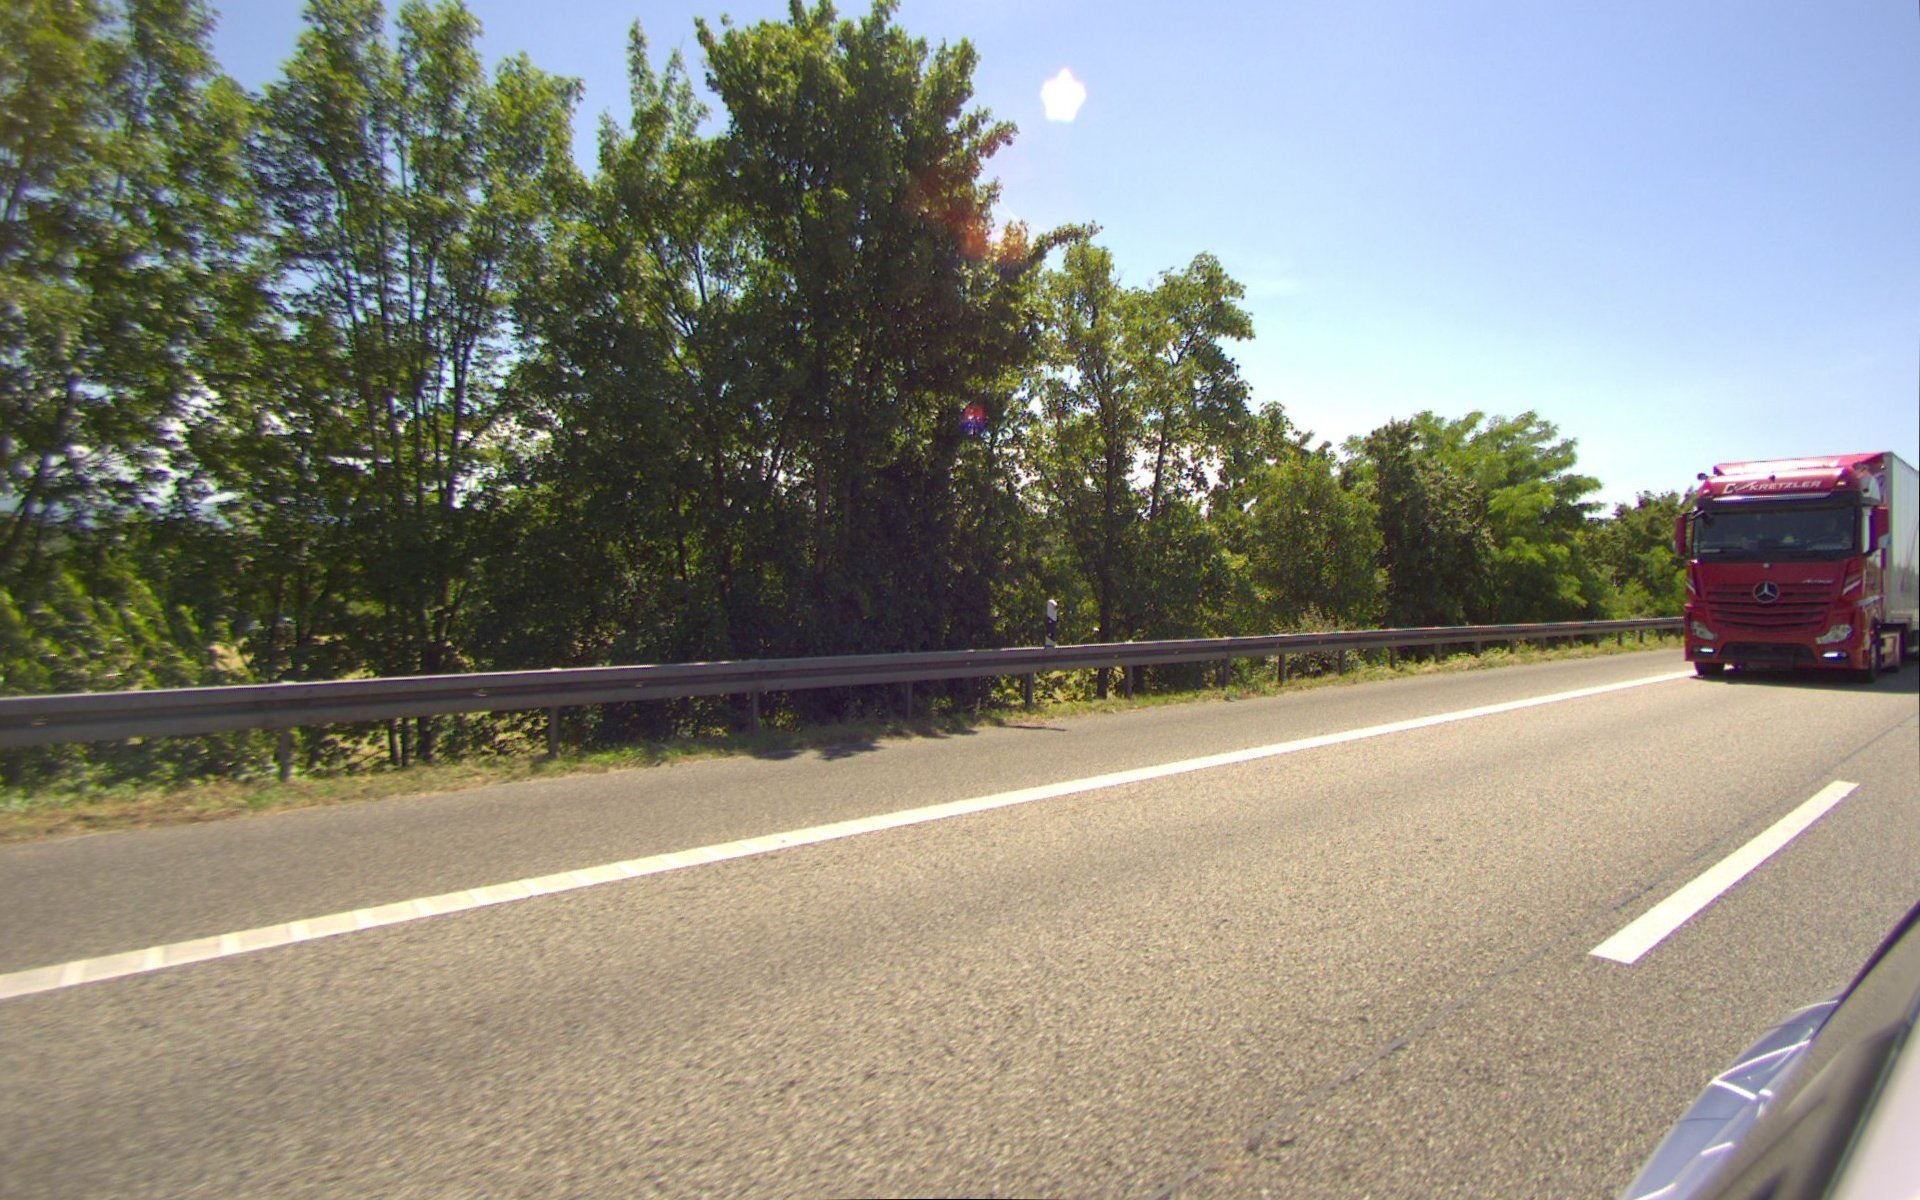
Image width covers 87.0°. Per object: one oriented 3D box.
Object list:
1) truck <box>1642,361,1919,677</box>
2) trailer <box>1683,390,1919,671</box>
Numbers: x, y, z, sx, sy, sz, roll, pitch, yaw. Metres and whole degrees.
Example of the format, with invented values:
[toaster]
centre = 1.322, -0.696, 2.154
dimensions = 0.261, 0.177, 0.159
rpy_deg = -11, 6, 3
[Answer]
[truck]
centre = 16.028, -1.270, 19.337
dimensions = 6.848, 4.951, 3.240
rpy_deg = 1, 0, -40
[trailer]
centre = 20.702, -1.193, 23.378
dimensions = 13.780, 4.899, 3.275
rpy_deg = 0, 0, -41
